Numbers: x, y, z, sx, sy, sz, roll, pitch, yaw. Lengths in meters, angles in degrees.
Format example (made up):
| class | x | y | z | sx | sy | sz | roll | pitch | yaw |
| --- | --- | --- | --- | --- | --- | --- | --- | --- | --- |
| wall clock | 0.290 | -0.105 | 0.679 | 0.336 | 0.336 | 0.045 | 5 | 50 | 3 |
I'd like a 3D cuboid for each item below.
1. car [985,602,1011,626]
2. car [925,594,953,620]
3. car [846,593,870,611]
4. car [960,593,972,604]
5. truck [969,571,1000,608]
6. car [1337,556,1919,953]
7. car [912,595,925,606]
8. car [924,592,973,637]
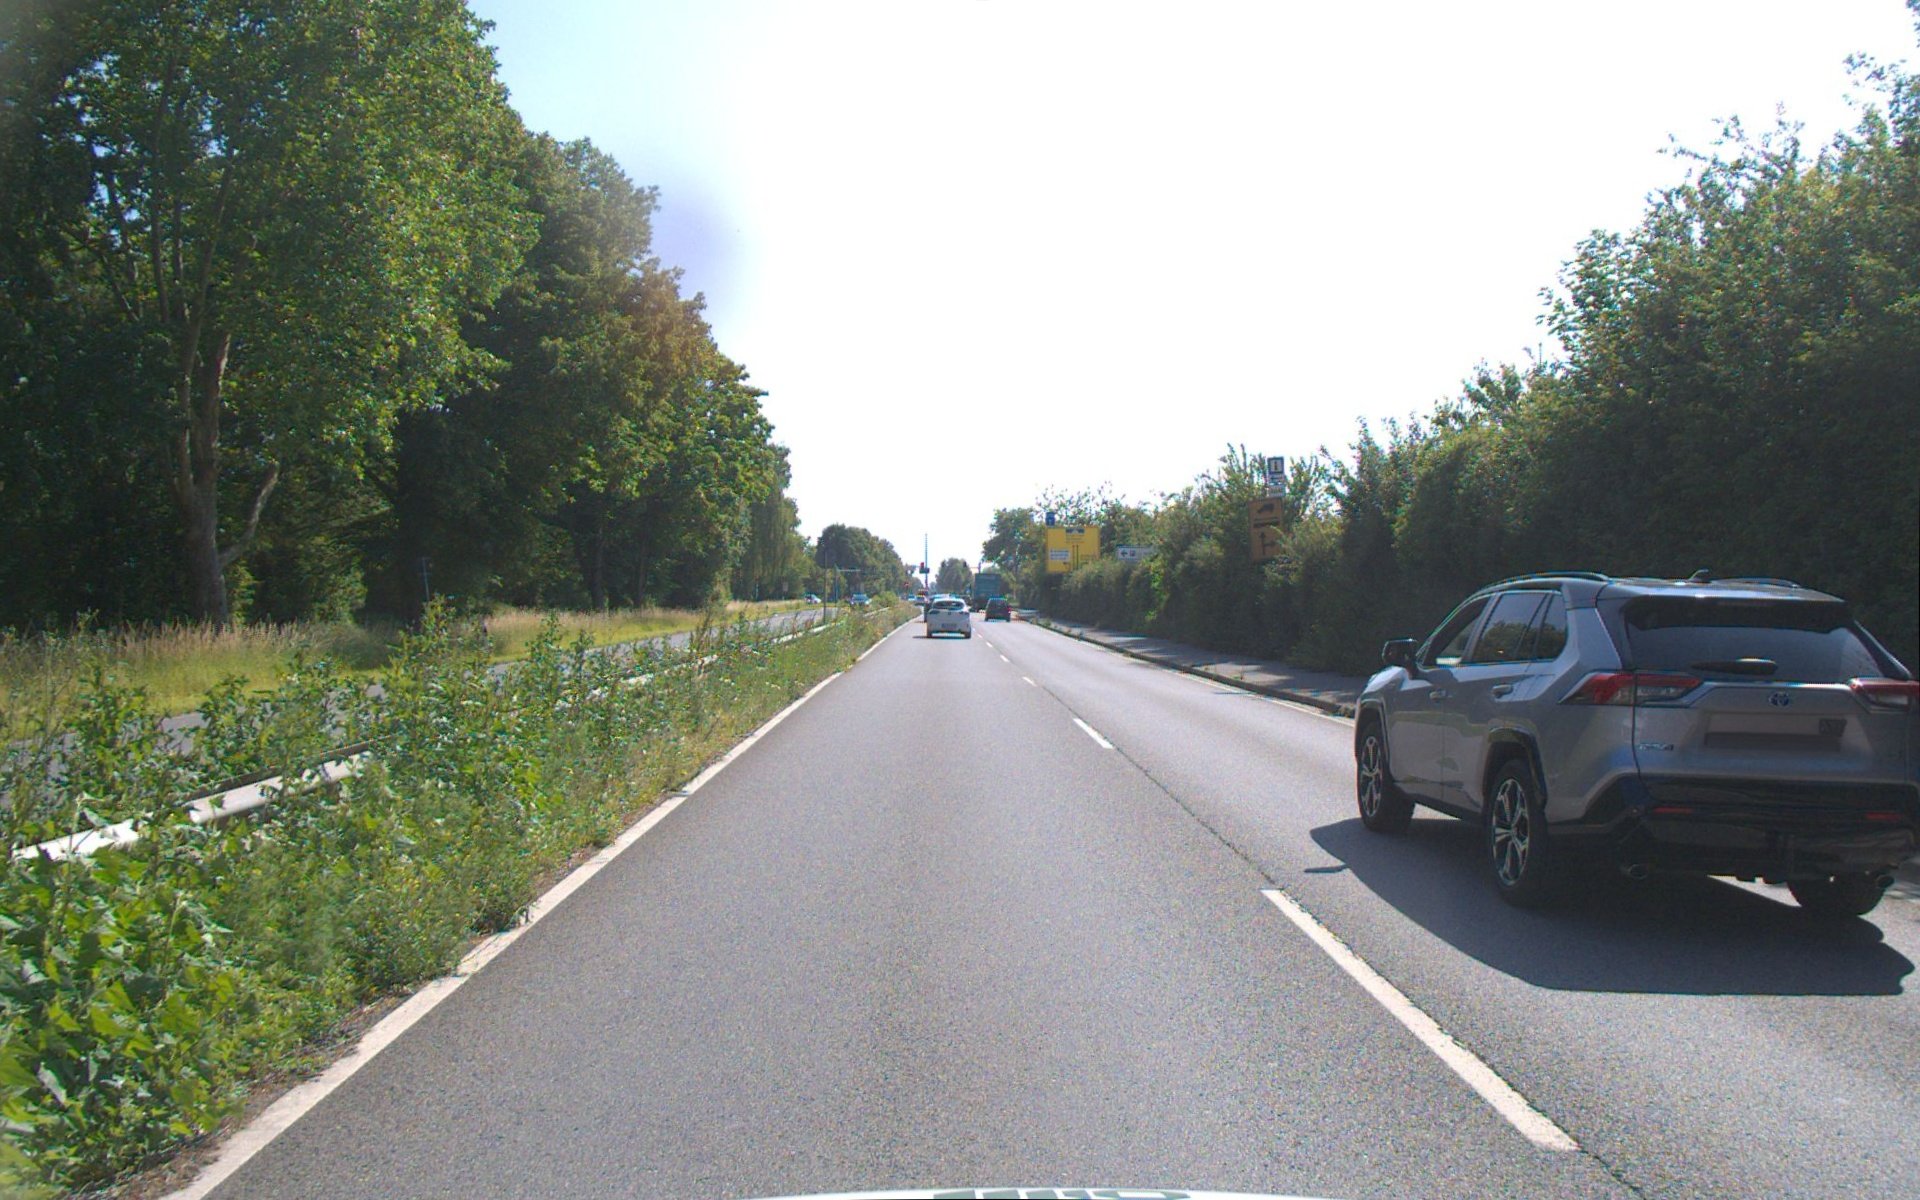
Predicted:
| class | x | y | z | sx | sy | sz | roll | pitch | yaw |
| --- | --- | --- | --- | --- | --- | --- | --- | --- | --- |
| car | 2.400 | 0.897 | 104.938 | 1.540 | 1.439 | 3.277 | 1 | -1 | -1 |
| car | -1.215 | 0.377 | 94.883 | 1.540 | 1.439 | 3.277 | 1 | 0 | -1 |
| car | -9.196 | 0.186 | 148.970 | 1.742 | 1.557 | 4.162 | -1 | 0 | 2 |
| car | 0.919 | -0.223 | 251.703 | 1.775 | 1.490 | 4.460 | -1 | 0 | 2 |
| truck | 2.377 | -1.041 | 164.178 | 2.833 | 3.488 | 9.168 | 0 | 0 | -1 |
| car | 3.709 | 0.681 | 9.637 | 1.863 | 1.709 | 4.682 | 2 | 0 | -1 |
| car | -6.134 | 0.068 | 245.022 | 1.775 | 1.490 | 4.971 | -1 | 0 | 1 |
| car | -0.413 | 0.517 | 62.617 | 1.762 | 1.580 | 4.000 | 1 | 0 | 0 |
